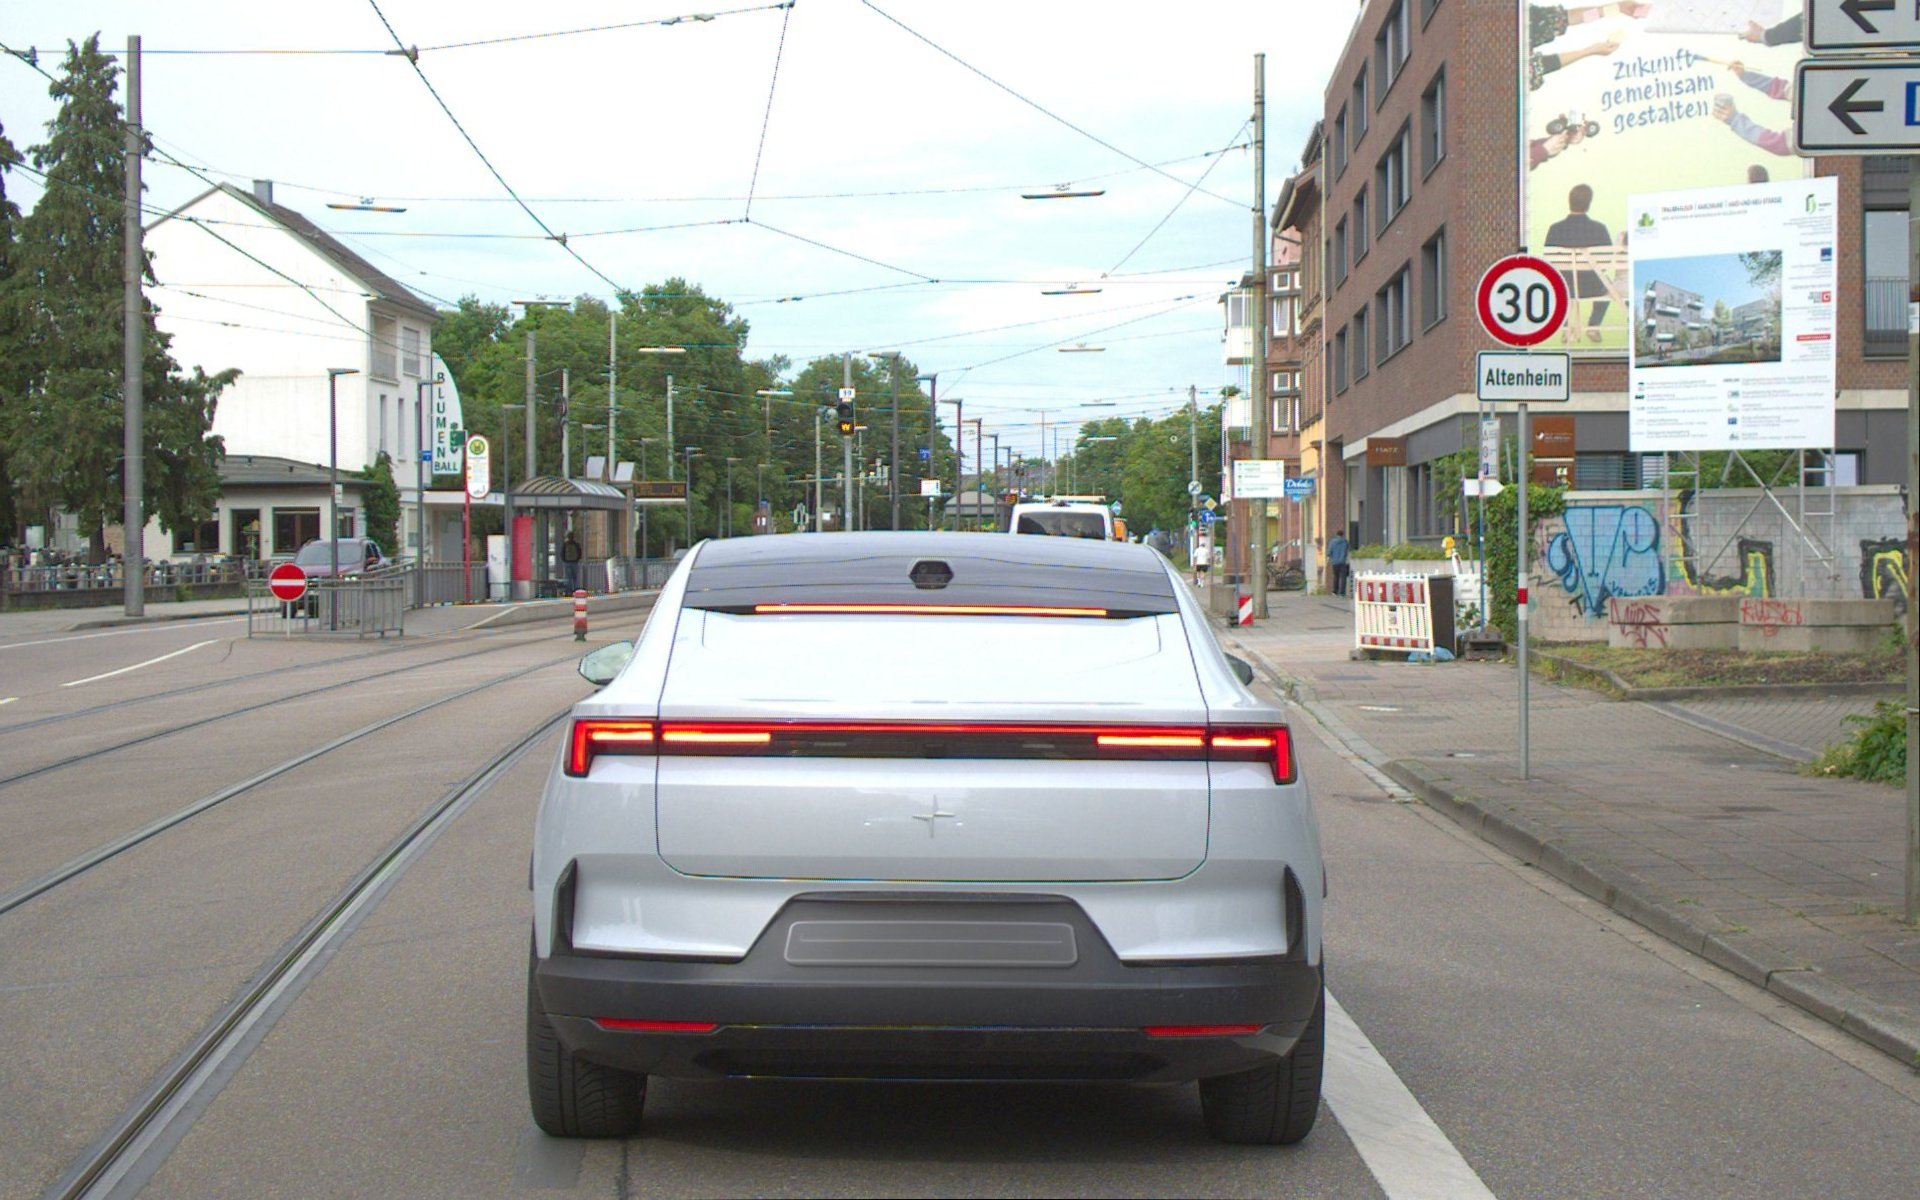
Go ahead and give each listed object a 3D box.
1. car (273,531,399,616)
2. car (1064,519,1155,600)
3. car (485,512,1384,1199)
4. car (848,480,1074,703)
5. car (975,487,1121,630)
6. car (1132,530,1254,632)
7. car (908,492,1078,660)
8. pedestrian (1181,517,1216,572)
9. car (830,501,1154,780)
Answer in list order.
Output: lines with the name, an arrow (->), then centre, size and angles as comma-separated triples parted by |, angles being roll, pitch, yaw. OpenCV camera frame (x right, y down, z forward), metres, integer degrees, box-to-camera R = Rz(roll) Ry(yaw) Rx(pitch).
car -> -13.334, -0.564, 73.626 | 1.744, 1.735, 4.000 | 1, 0, 3
car -> 4.074, -1.104, 94.412 | 2.139, 2.138, 4.744 | 1, 0, -2
car -> -0.217, 0.563, 9.766 | 1.981, 1.544, 4.184 | 1, 1, -5
car -> -0.058, -0.090, 33.651 | 1.993, 2.007, 4.000 | 1, 0, -3
car -> 1.528, -0.733, 61.713 | 2.216, 2.415, 4.952 | 1, 0, -3
car -> 4.387, -0.361, 65.173 | 1.874, 1.817, 4.096 | 1, 0, -2
car -> 0.373, -0.301, 43.936 | 1.993, 2.007, 4.000 | 1, 0, -1
pedestrian -> 8.903, -2.072, 128.409 | 1.219, 2.007, 0.934 | -1, 1, -1
car -> 0.135, 0.249, 23.920 | 1.968, 1.750, 3.838 | 1, 0, -3
